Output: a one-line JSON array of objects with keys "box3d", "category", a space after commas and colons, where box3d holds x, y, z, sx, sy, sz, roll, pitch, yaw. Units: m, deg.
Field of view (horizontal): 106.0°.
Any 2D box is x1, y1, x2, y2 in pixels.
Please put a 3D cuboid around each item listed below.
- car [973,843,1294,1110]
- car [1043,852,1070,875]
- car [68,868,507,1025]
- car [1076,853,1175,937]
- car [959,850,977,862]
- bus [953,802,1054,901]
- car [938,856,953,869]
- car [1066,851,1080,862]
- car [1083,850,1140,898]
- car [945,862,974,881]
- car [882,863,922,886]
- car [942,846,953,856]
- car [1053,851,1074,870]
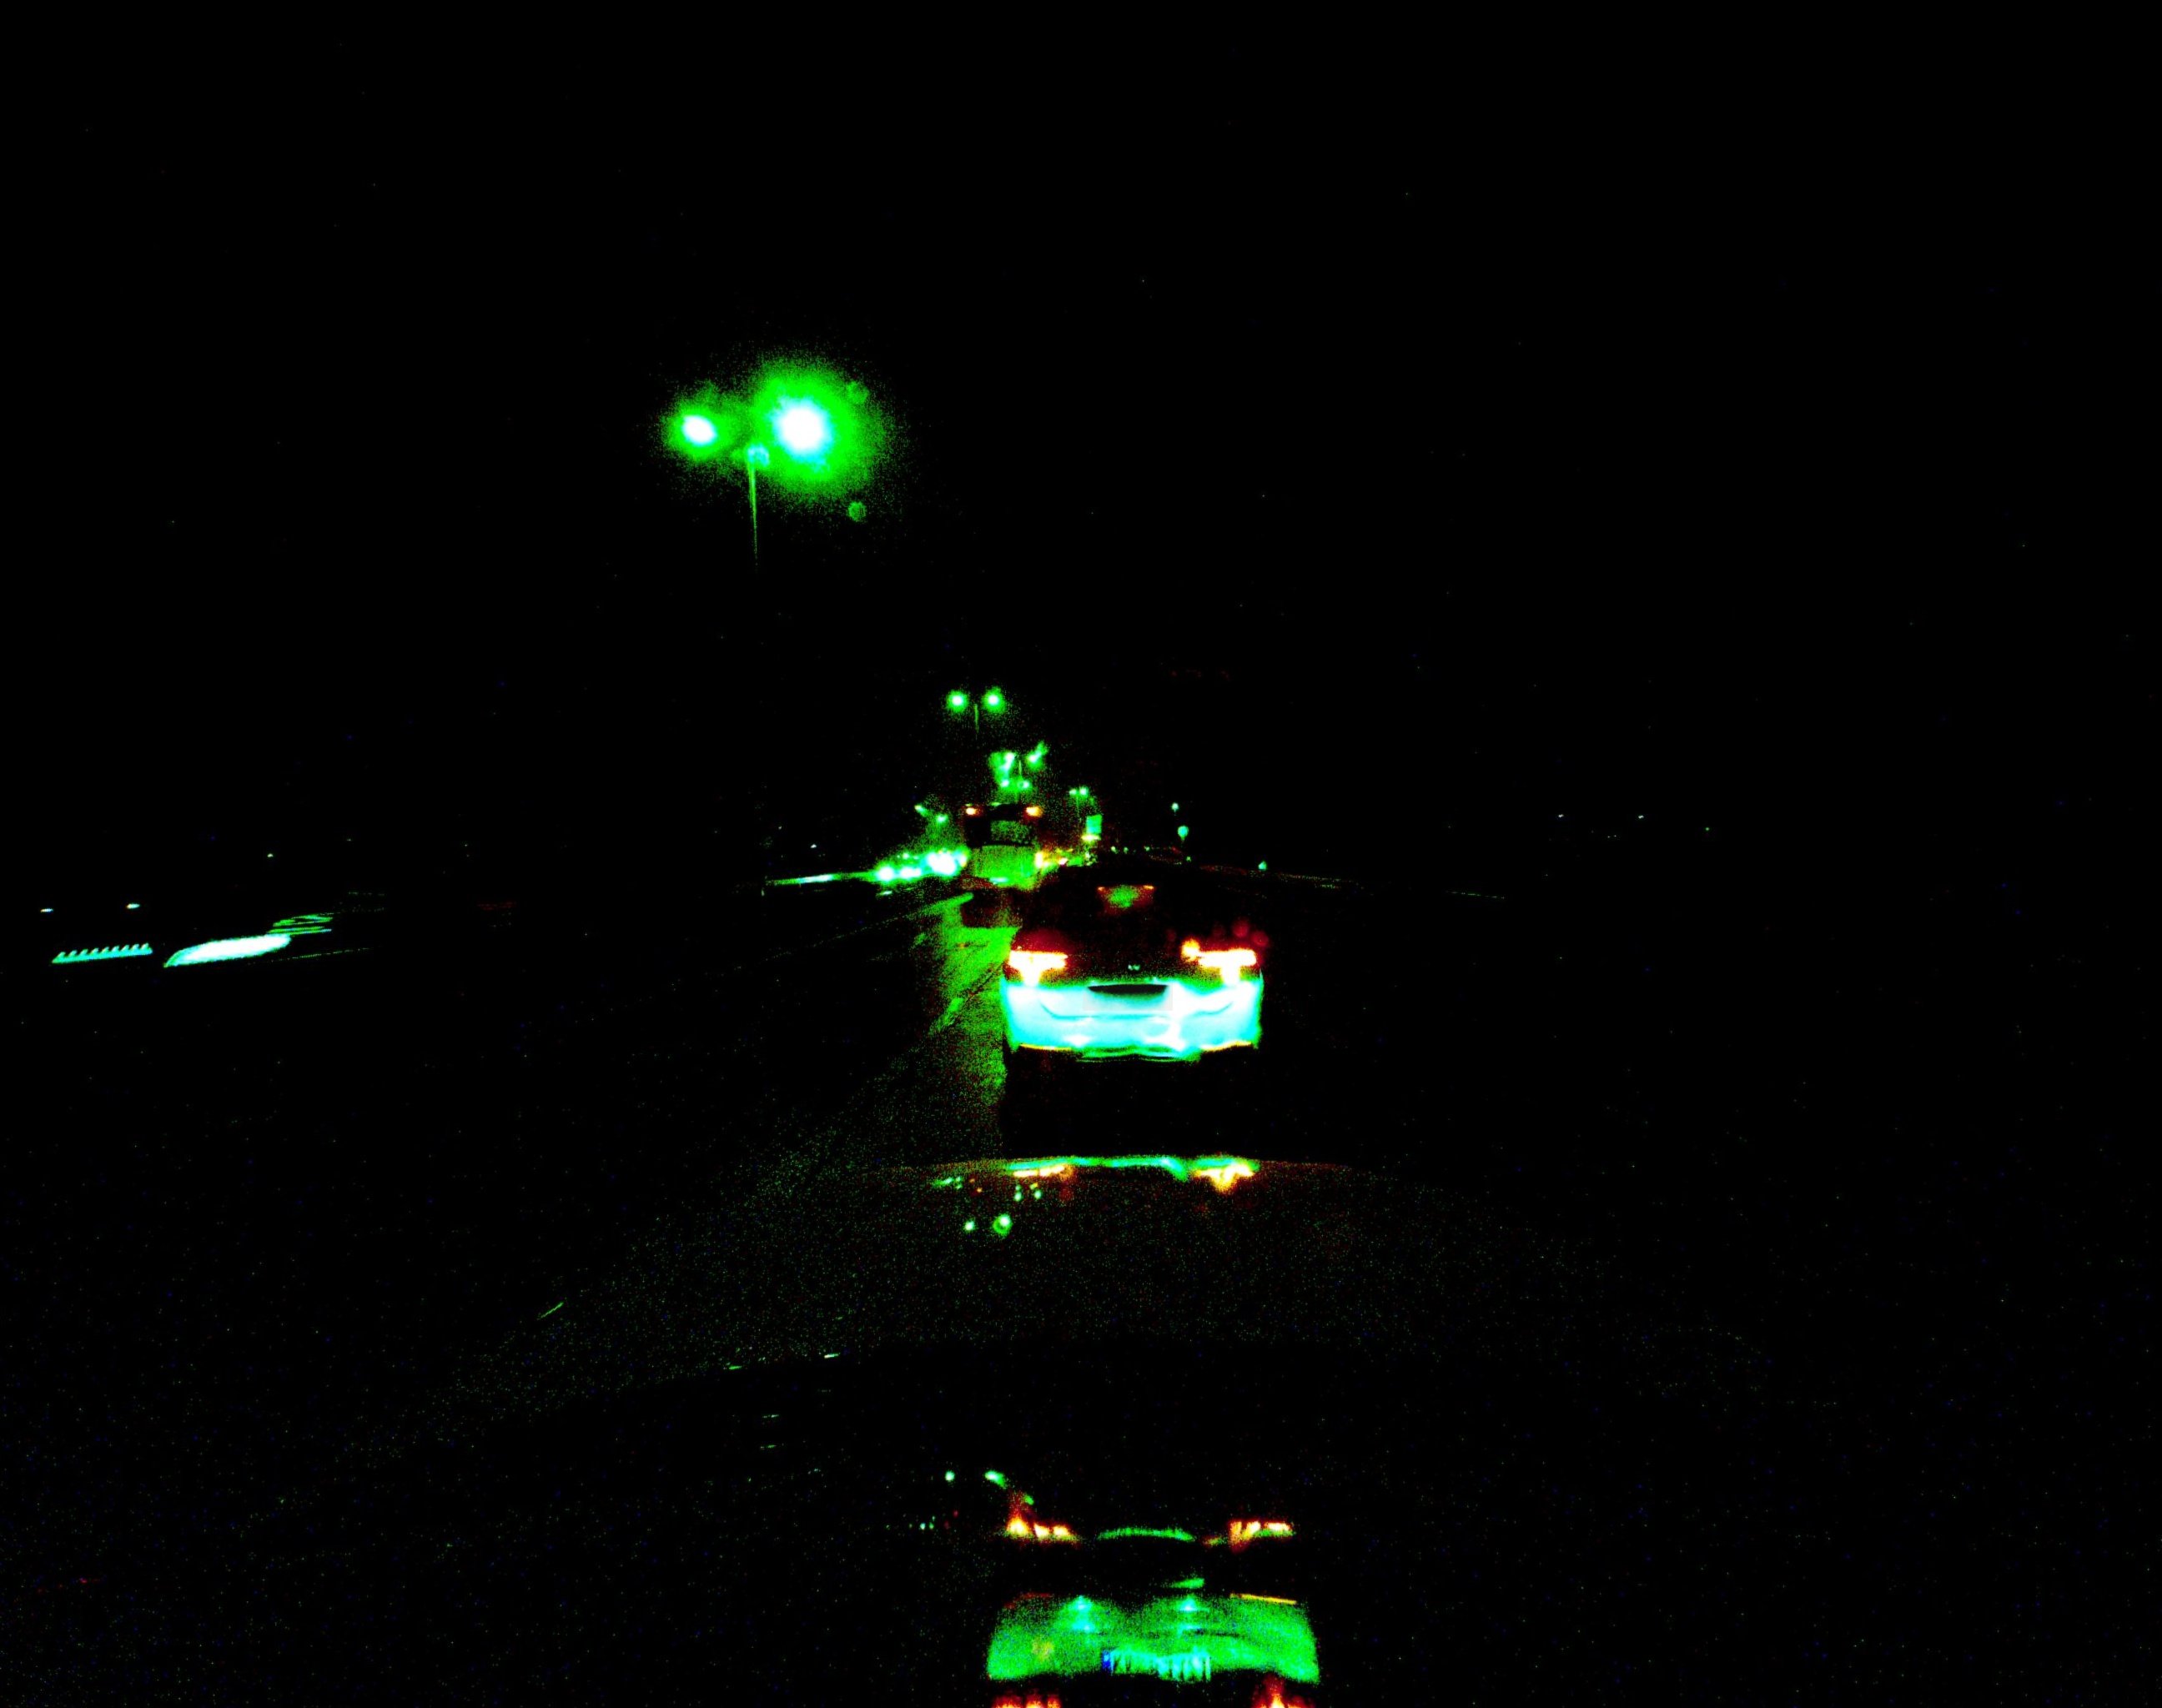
[{"box3d": [0.376, 0.700, 6.997, 1.815, 1.484, 4.569, 2, 0, 2], "category": "car"}, {"box3d": [-1.653, 0.624, 56.426, 1.774, 1.543, 3.873, -1, 0, -1], "category": "car"}, {"box3d": [-9.894, 1.022, 10.708, 1.745, 1.552, 4.011, -2, 0, 1], "category": "car"}, {"box3d": [0.789, 0.715, 16.703, 1.726, 1.449, 4.724, -1, 0, 0], "category": "car"}, {"box3d": [-20.924, 0.374, 150.966, 2.006, 2.014, 3.961, 0, -1, -31], "category": "car"}, {"box3d": [-2.561, -0.099, 29.595, 2.806, 3.024, 8.685, -1, 0, 0], "category": "bus"}, {"box3d": [-21.287, 1.316, 127.650, 1.990, 2.014, 3.993, 0, -1, -5], "category": "car"}, {"box3d": [-1.166, 0.408, 117.279, 1.773, 1.543, 3.876, -1, 0, 1], "category": "car"}, {"box3d": [1.019, 0.653, 28.686, 1.735, 1.565, 3.774, -1, 0, -2], "category": "car"}, {"box3d": [-10.040, 1.426, 67.566, 1.604, 1.381, 4.748, -1, 0, 2], "category": "car"}, {"box3d": [-12.505, 1.404, 57.090, 1.604, 1.381, 4.166, -4, 0, 2], "category": "car"}, {"box3d": [-27.849, -0.599, 170.180, 2.122, 2.014, 3.984, 0, -1, -12], "category": "car"}, {"box3d": [-1.522, 0.560, 71.296, 1.774, 1.543, 3.874, -1, 0, 0], "category": "car"}]
